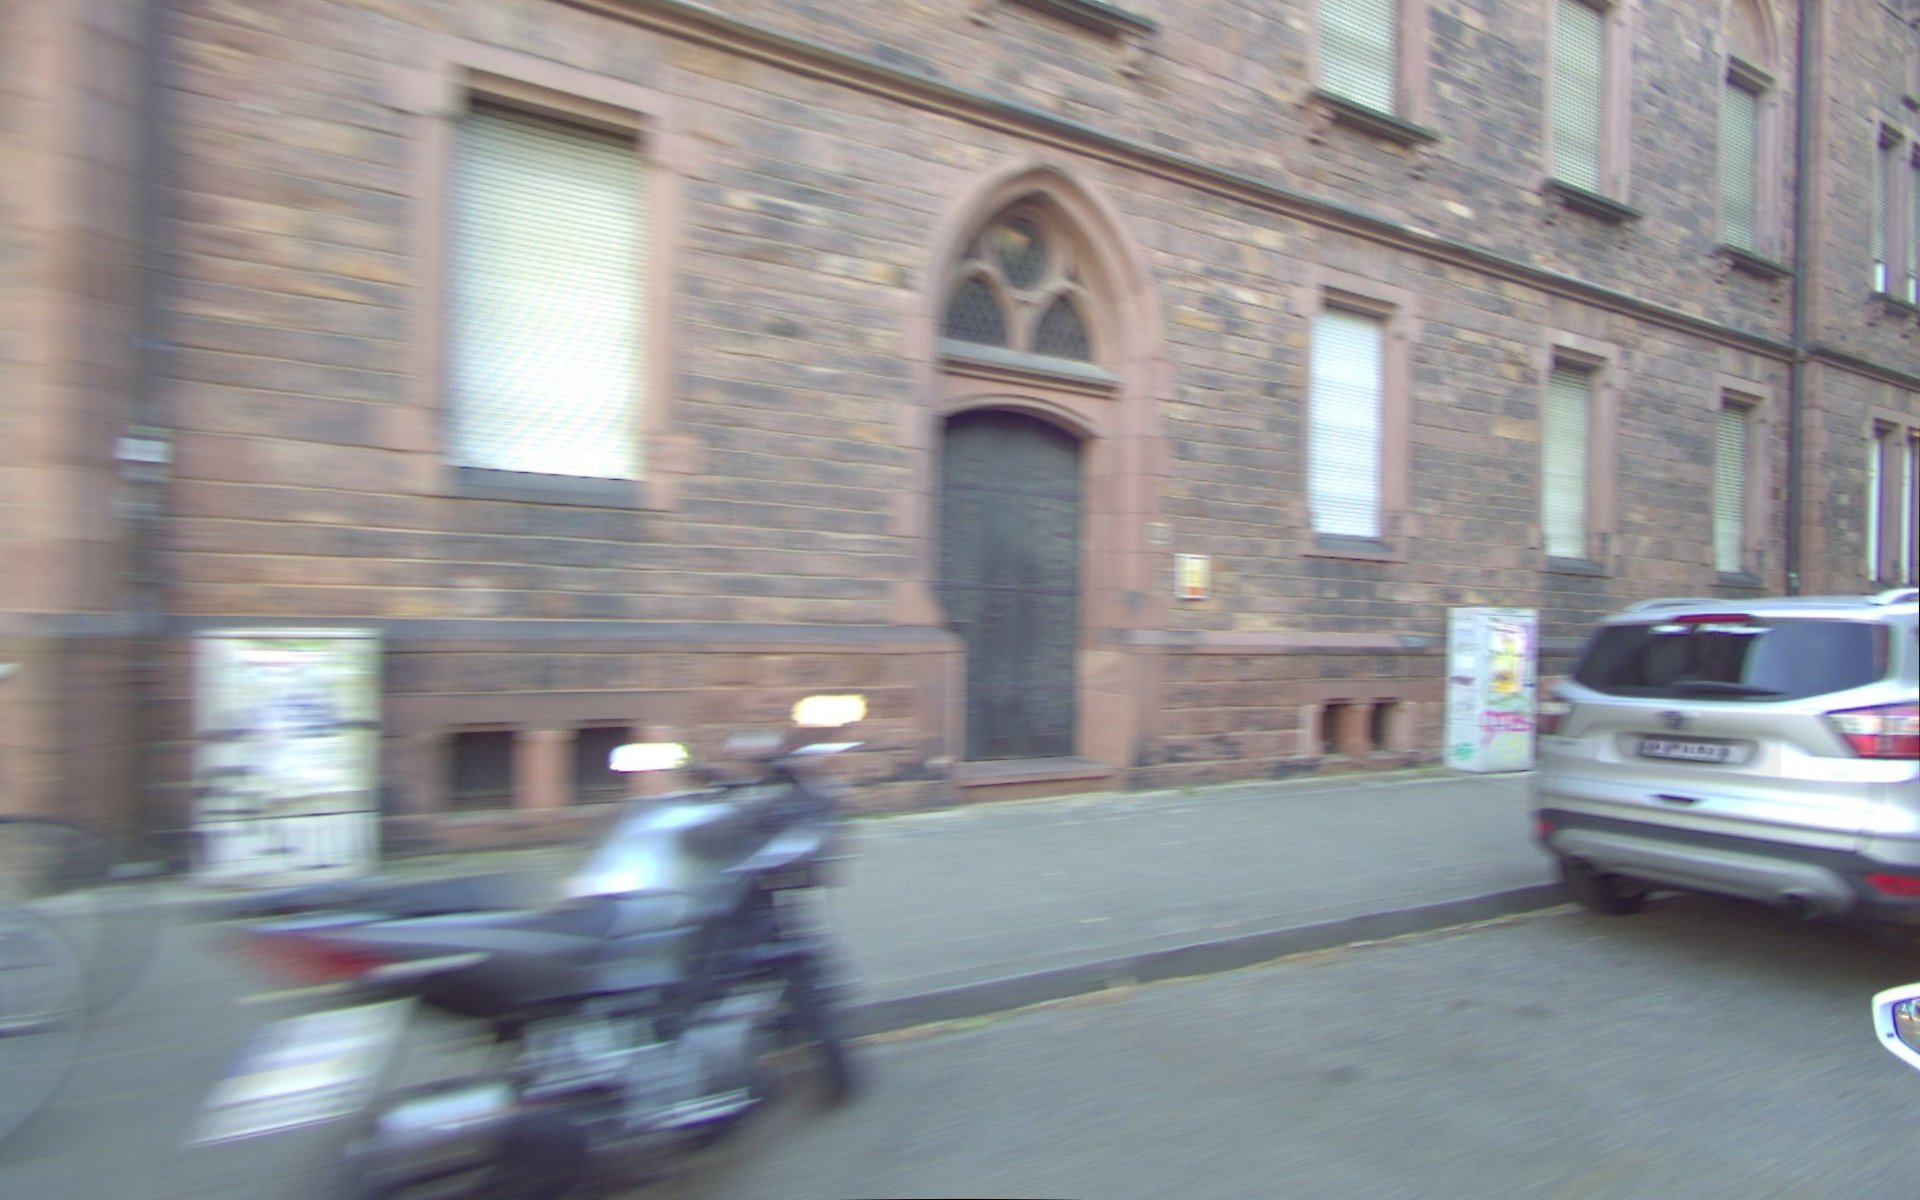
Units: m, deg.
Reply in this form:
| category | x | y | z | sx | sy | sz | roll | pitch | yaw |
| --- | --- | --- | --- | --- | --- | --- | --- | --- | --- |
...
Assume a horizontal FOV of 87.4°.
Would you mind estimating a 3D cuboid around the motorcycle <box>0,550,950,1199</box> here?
| category | x | y | z | sx | sy | sz | roll | pitch | yaw |
| --- | --- | --- | --- | --- | --- | --- | --- | --- | --- |
| motorcycle | -0.722 | 0.619 | 2.480 | 0.687 | 1.267 | 2.328 | 1 | -2 | 17 |

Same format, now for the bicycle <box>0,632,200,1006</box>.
| category | x | y | z | sx | sy | sz | roll | pitch | yaw |
| --- | --- | --- | --- | --- | --- | --- | --- | --- | --- |
| bicycle | -3.000 | 0.619 | 2.853 | 1.279 | 1.056 | 0.232 | 3 | 0 | -27 |

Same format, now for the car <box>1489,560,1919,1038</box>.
| category | x | y | z | sx | sy | sz | roll | pitch | yaw |
| --- | --- | --- | --- | --- | --- | --- | --- | --- | --- |
| car | 4.928 | 0.837 | 5.299 | 4.224 | 1.696 | 1.703 | 3 | -4 | -28 |

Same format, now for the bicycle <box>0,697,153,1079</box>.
| category | x | y | z | sx | sy | sz | roll | pitch | yaw |
| --- | --- | --- | --- | --- | --- | --- | --- | --- | --- |
| bicycle | -2.815 | 0.697 | 2.335 | 1.405 | 0.918 | 0.232 | 3 | 0 | -31 |
